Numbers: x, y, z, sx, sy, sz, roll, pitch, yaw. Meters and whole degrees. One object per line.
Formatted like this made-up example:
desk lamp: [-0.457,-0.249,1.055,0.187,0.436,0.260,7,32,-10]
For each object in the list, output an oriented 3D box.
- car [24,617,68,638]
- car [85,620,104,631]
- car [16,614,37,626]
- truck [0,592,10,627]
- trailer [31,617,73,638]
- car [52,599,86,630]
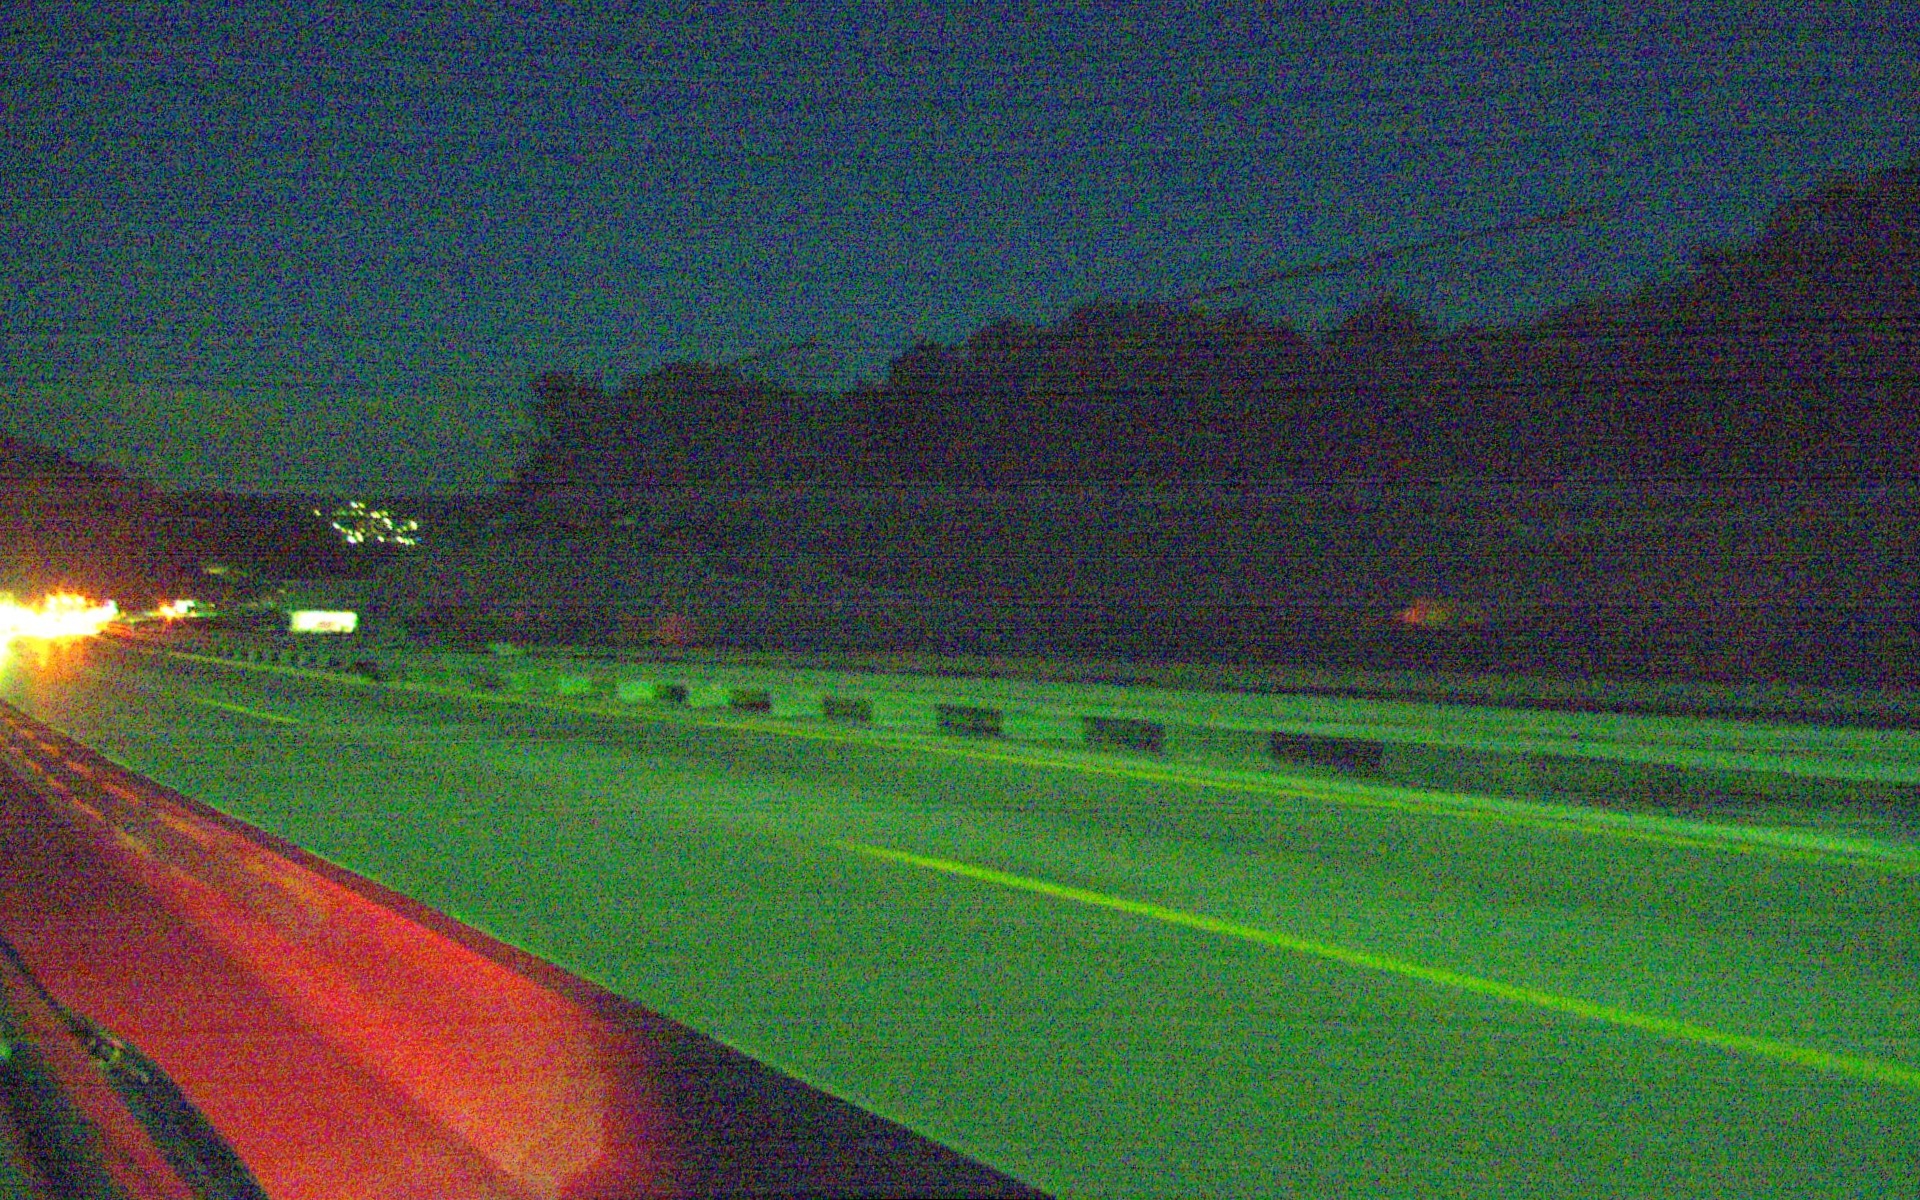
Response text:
car: [-65.471,1.989,72.454,4.952,1.437,1.891,-2,-2,43]
car: [-118.292,3.484,138.345,1.662,1.470,4.209,2,-2,-37]
car: [-131.861,2.806,142.945,1.665,1.641,4.732,2,-3,-37]
truck: [-118.895,1.152,123.421,2.926,4.307,17.179,1,-1,-38]
trailer: [-62.464,1.903,69.592,3.351,1.437,1.863,-2,-2,43]
car: [-91.704,1.474,104.261,2.455,3.129,7.396,2,-1,-41]
